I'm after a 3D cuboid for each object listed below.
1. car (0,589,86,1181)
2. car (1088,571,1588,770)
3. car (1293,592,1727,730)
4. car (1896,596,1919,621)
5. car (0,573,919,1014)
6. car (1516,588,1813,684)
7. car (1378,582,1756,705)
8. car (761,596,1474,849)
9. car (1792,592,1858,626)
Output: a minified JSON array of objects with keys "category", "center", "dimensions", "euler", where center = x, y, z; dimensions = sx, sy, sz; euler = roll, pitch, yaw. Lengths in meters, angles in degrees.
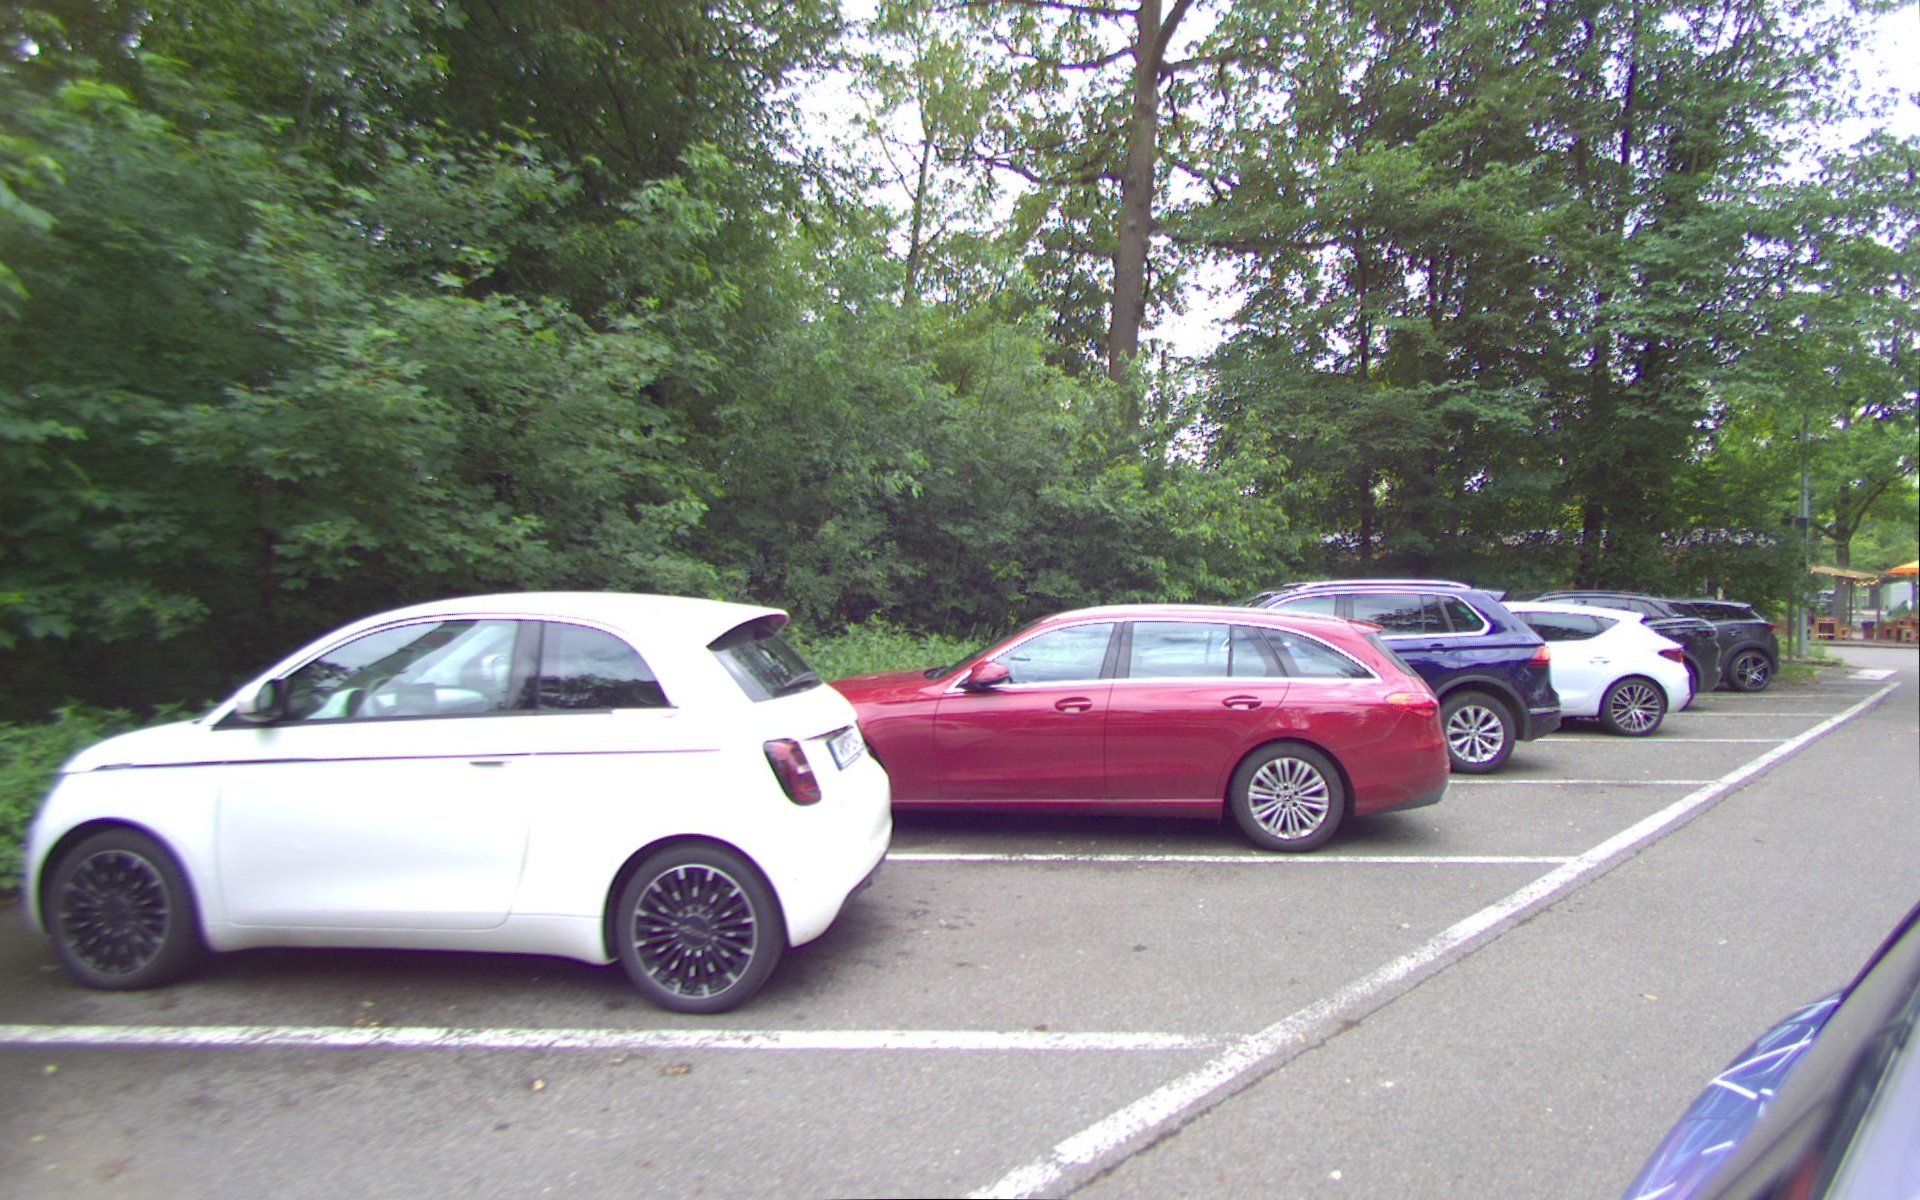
[{"category":"car","center":[-4.479,0.699,1.994],"dimensions":[4.111,1.476,1.803],"euler":[0,0,4]},{"category":"car","center":[3.265,0.573,9.514],"dimensions":[4.049,1.638,1.839],"euler":[0,0,7]},{"category":"car","center":[6.219,0.639,11.901],"dimensions":[4.049,1.457,1.866],"euler":[0,0,7]},{"category":"car","center":[70.788,0.589,74.514],"dimensions":[1.862,1.802,4.248],"euler":[1,0,31]},{"category":"car","center":[-2.048,0.664,4.588],"dimensions":[3.520,1.524,1.732],"euler":[0,0,6]},{"category":"car","center":[11.669,0.562,16.958],"dimensions":[3.722,1.511,1.698],"euler":[0,0,3]},{"category":"car","center":[8.374,0.561,14.287],"dimensions":[4.125,1.600,1.957],"euler":[0,0,2]},{"category":"car","center":[0.960,0.691,7.029],"dimensions":[4.224,1.431,1.924],"euler":[0,0,8]},{"category":"car","center":[42.239,0.396,49.495],"dimensions":[1.987,1.571,3.951],"euler":[1,1,34]}]
